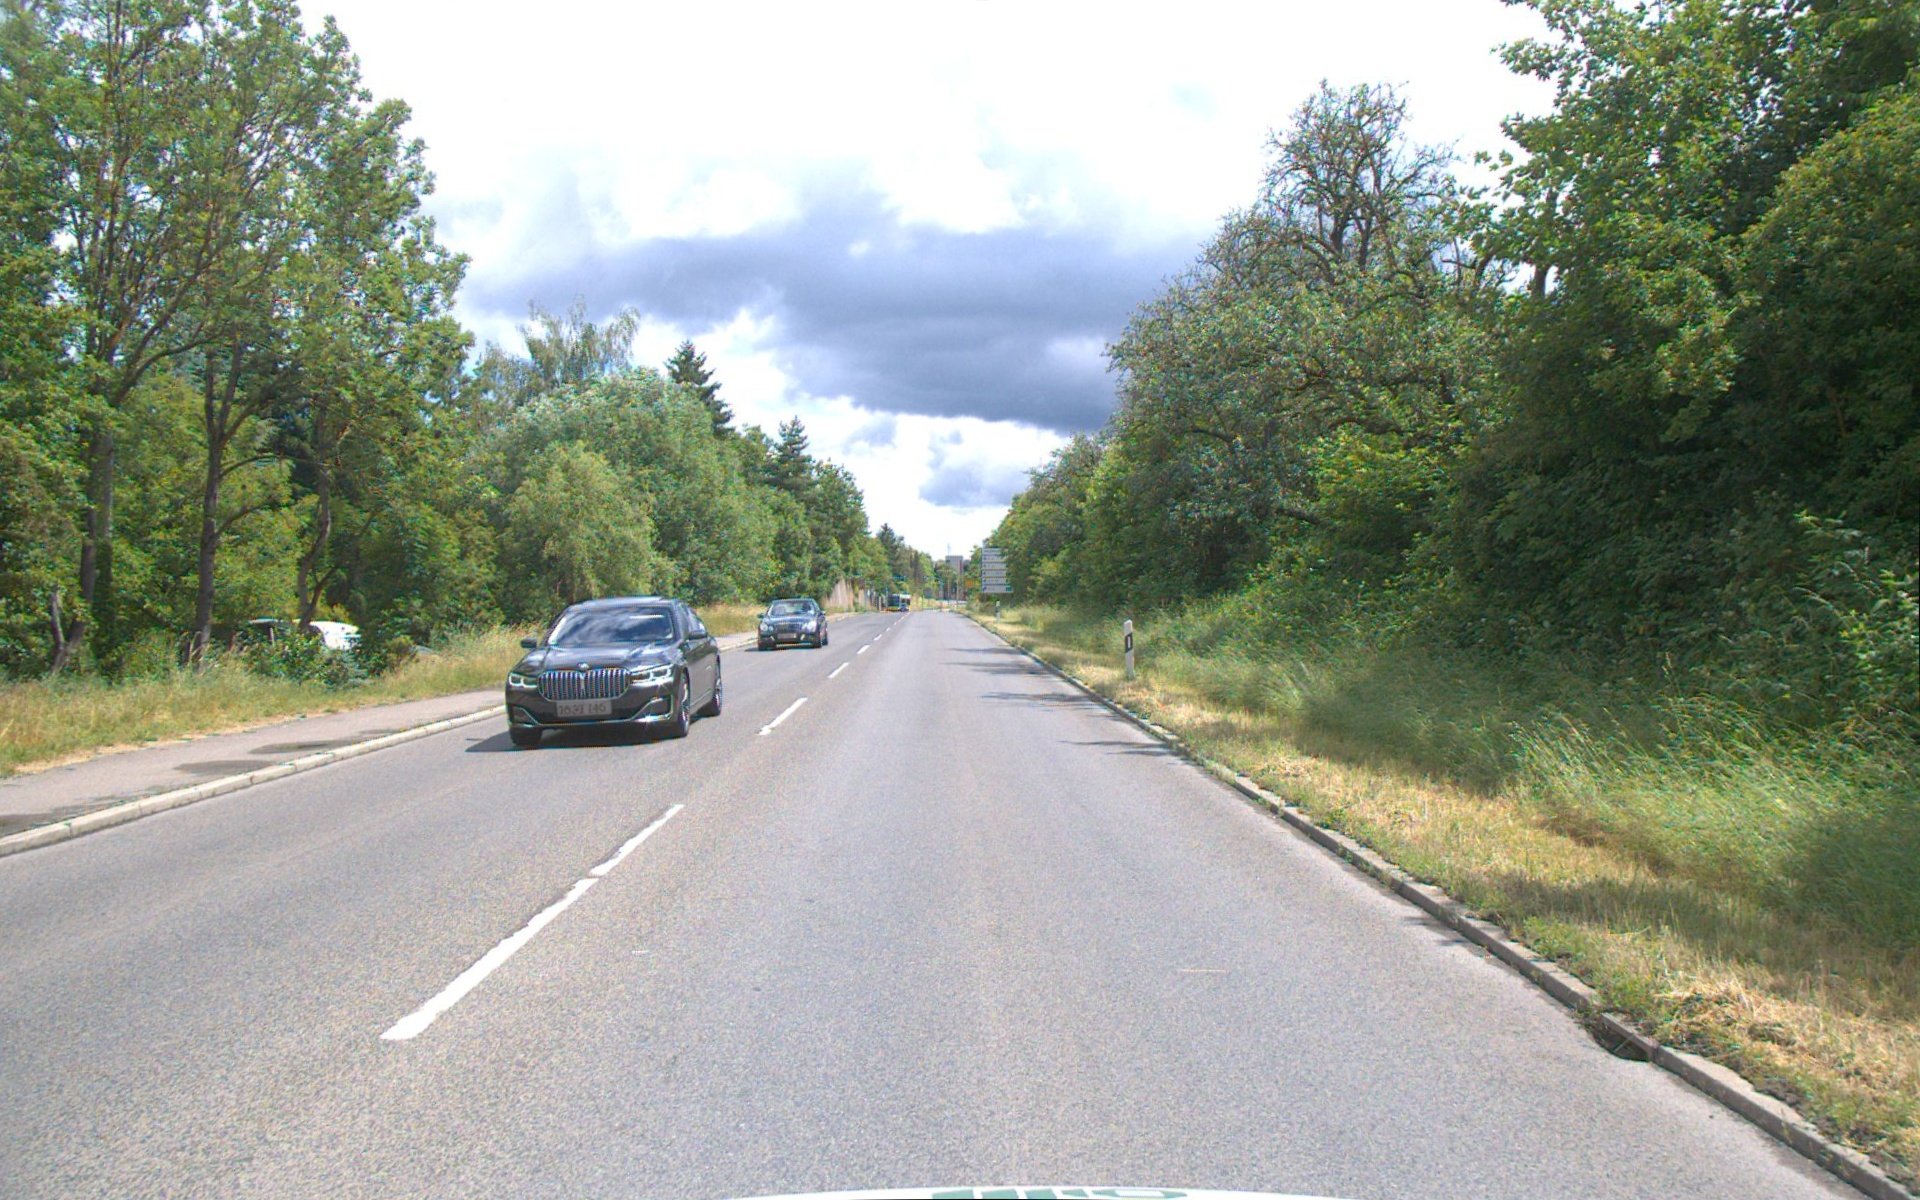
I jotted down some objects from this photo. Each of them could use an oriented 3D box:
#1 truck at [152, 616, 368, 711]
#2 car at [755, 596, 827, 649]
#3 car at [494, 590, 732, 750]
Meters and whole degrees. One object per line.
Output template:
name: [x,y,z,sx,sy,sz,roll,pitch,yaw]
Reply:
truck: [-22.276,2.009,52.728,6.071,2.654,2.002,-3,0,8]
car: [-4.906,0.618,48.447,1.749,1.357,4.621,-3,1,-2]
car: [-3.831,0.693,19.061,1.846,1.517,4.715,-3,1,-2]
